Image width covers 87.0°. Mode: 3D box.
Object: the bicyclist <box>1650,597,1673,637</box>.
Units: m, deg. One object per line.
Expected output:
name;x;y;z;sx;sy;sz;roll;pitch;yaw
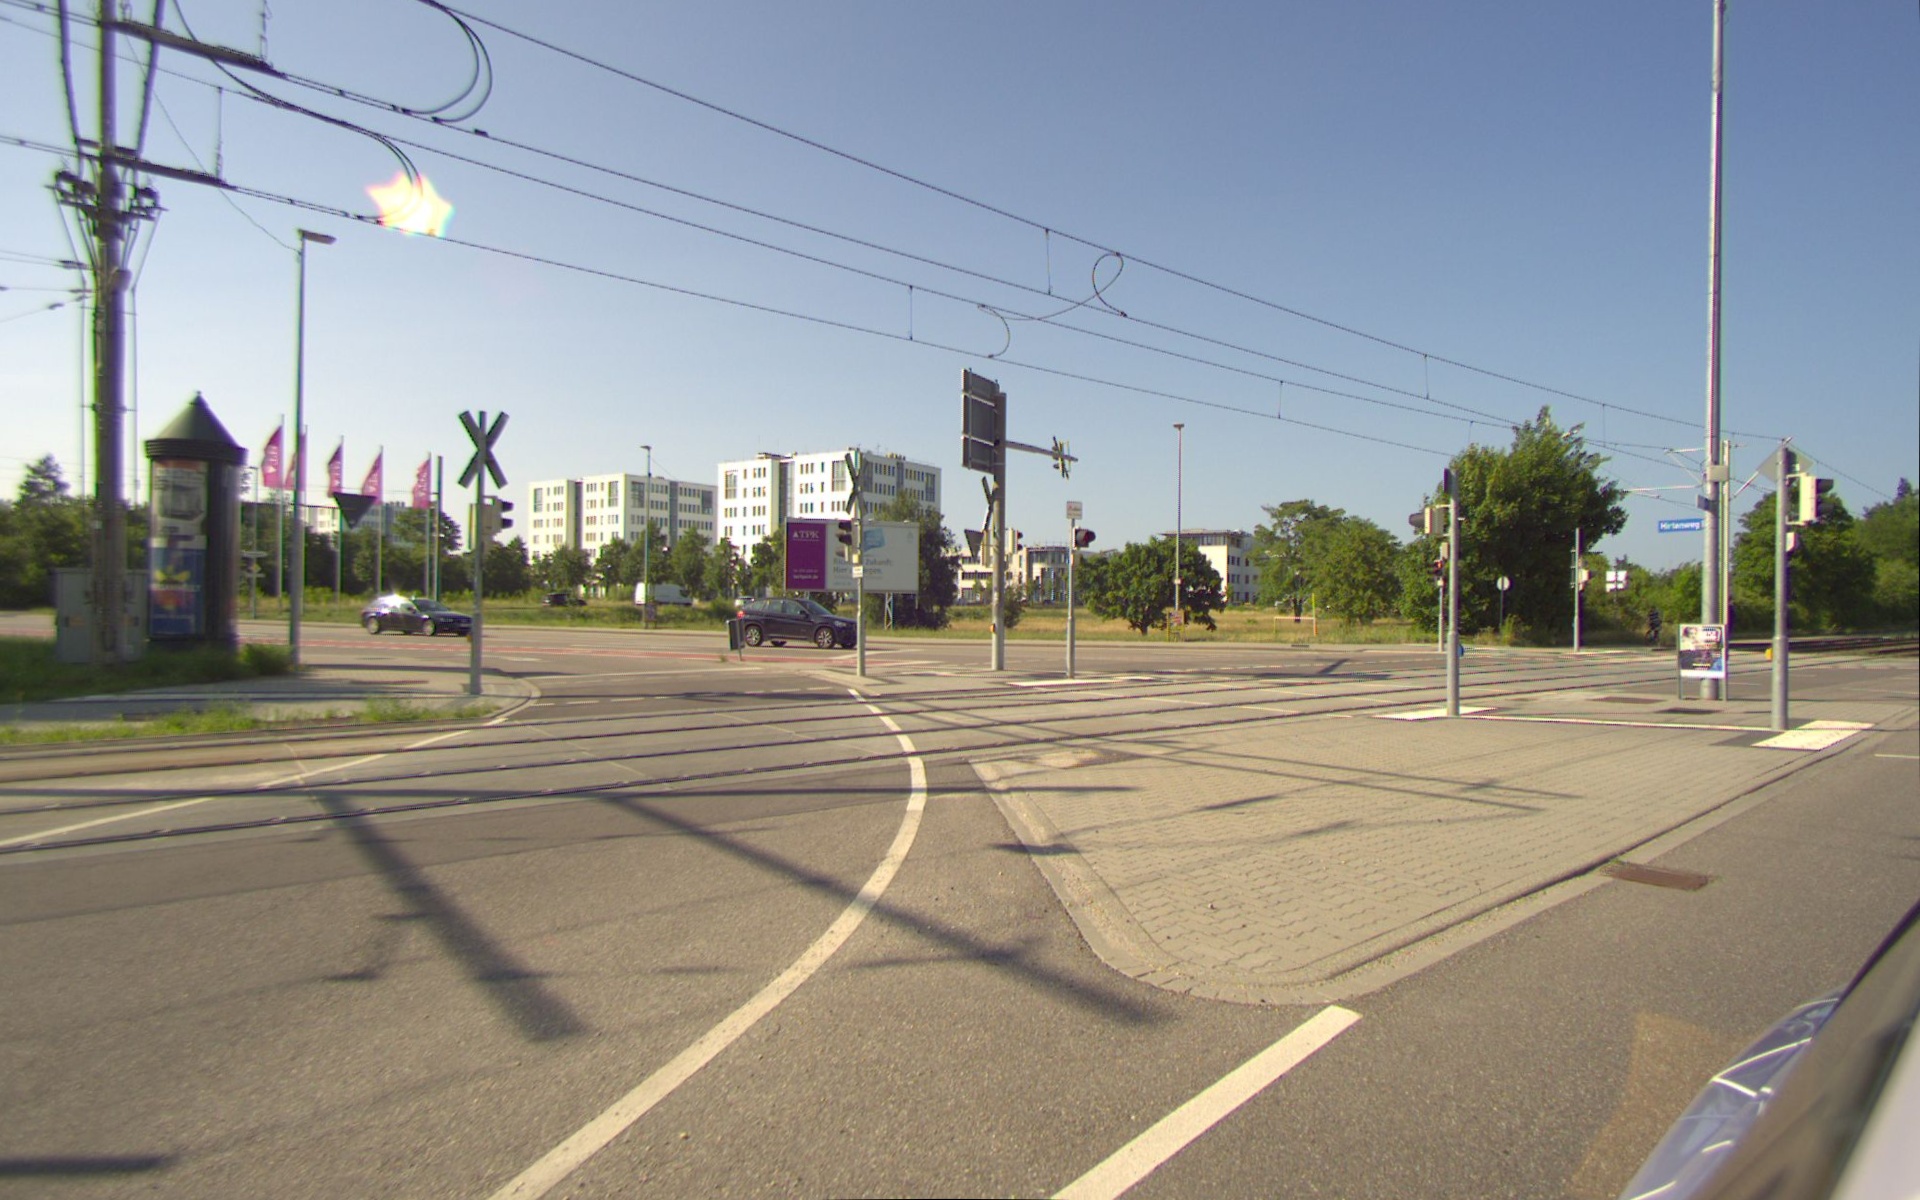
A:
bicyclist;32.786;0.795;47.283;0.705;1.831;0.707;1;-1;-39

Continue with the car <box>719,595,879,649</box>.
car;-5.236;0.678;32.936;4.805;1.582;2.030;1;0;22

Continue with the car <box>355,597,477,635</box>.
car;-20.629;0.598;38.380;4.254;1.352;1.737;1;0;21

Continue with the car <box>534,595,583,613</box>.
car;-37.208;0.342;93.804;1.979;1.616;3.965;1;0;25

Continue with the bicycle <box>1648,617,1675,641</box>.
bicycle;32.728;1.343;47.200;1.840;1.060;0.546;0;0;-40

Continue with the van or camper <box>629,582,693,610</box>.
van or camper;-31.030;-0.353;105.297;2.220;2.814;6.671;0;0;30

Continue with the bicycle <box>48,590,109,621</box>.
bicycle;-51.779;0.323;59.472;0.788;1.735;2.586;0;-1;29
